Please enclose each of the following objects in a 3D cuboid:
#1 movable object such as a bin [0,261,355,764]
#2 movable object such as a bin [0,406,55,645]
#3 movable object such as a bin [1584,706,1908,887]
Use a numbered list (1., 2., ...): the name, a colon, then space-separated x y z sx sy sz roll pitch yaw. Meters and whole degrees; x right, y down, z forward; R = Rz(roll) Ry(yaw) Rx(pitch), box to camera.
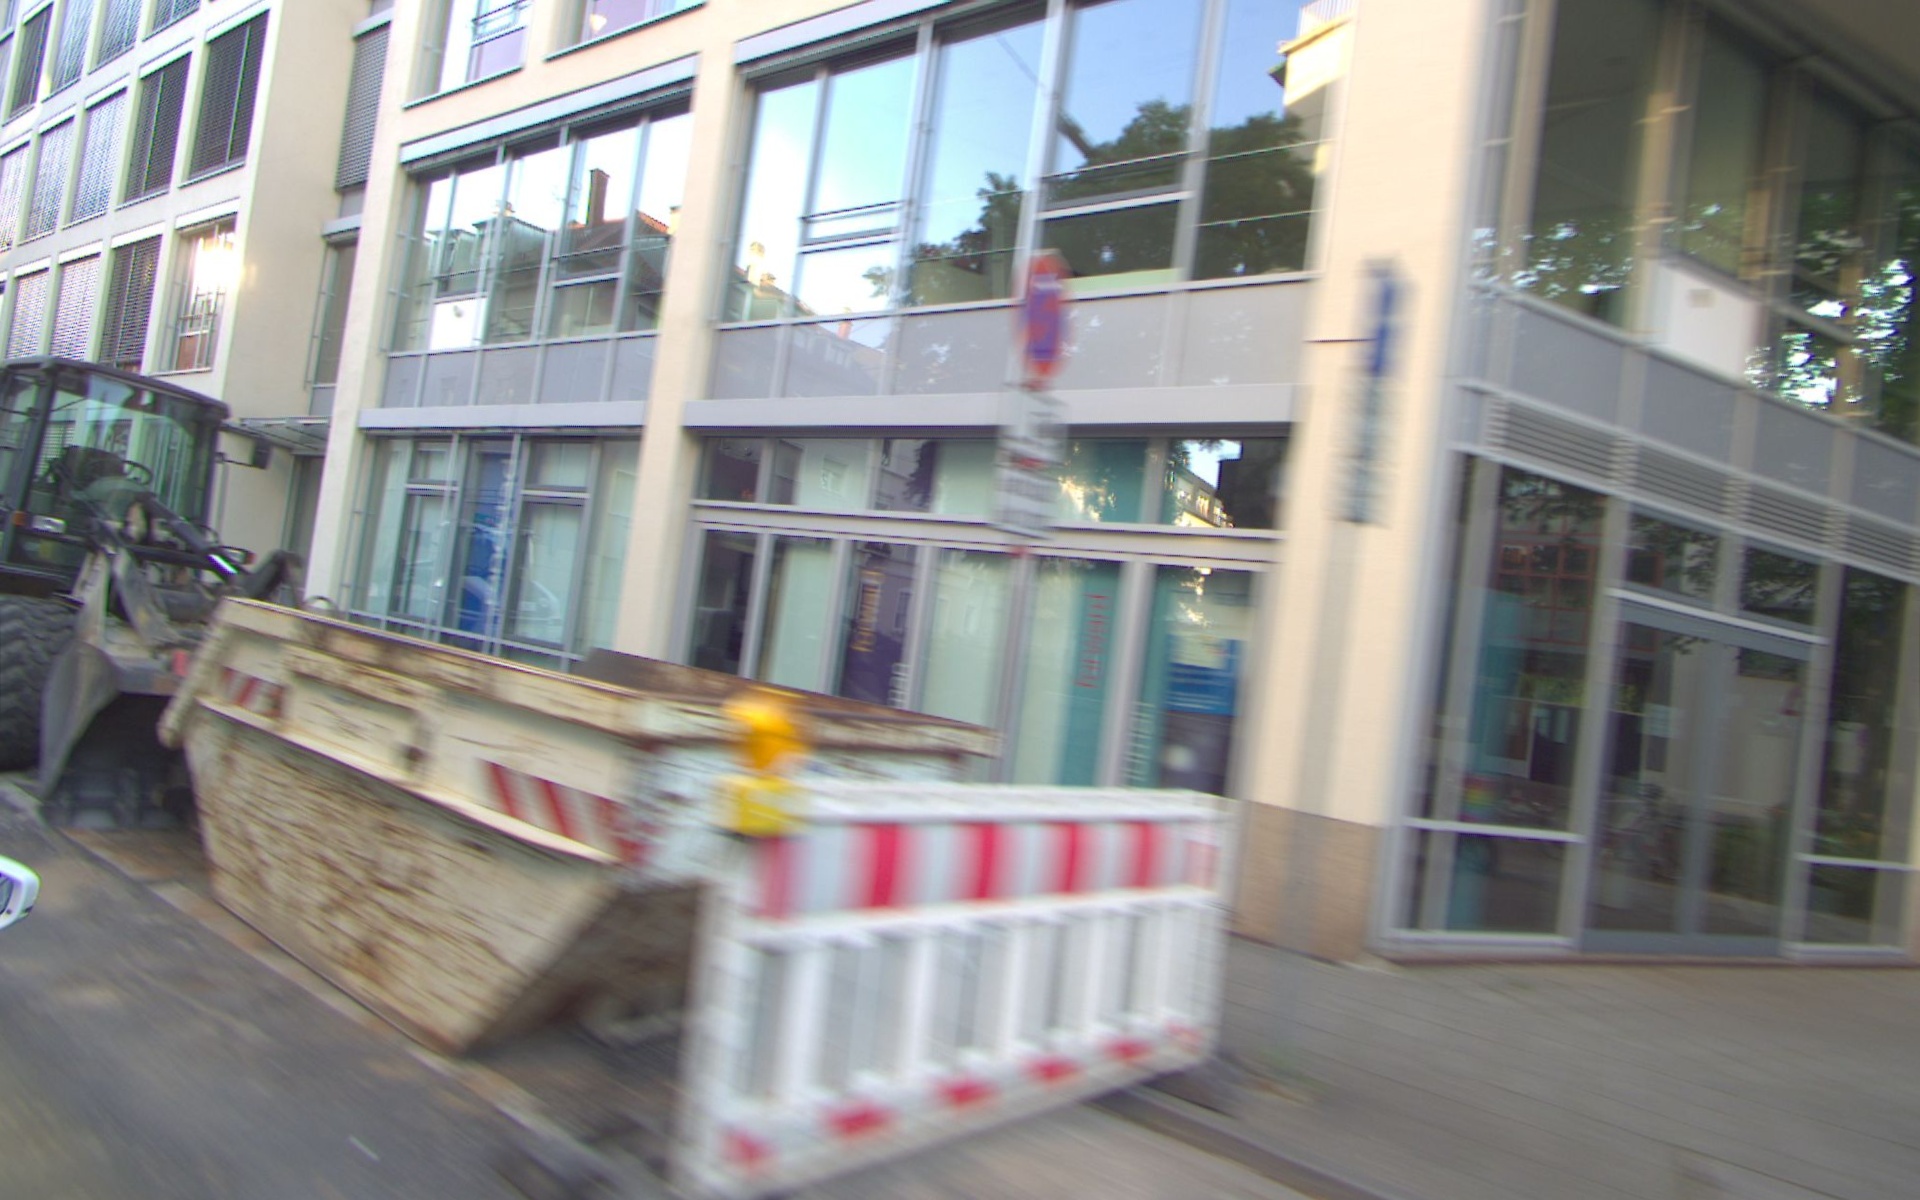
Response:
1. movable object such as a bin: -6.356 -0.544 7.159 4.047 2.664 1.798 7 -2 36
2. movable object such as a bin: -13.355 -1.171 12.087 5.454 2.625 2.170 7 -2 34
3. movable object such as a bin: 13.951 3.405 18.179 3.607 2.359 2.587 8 -2 10
